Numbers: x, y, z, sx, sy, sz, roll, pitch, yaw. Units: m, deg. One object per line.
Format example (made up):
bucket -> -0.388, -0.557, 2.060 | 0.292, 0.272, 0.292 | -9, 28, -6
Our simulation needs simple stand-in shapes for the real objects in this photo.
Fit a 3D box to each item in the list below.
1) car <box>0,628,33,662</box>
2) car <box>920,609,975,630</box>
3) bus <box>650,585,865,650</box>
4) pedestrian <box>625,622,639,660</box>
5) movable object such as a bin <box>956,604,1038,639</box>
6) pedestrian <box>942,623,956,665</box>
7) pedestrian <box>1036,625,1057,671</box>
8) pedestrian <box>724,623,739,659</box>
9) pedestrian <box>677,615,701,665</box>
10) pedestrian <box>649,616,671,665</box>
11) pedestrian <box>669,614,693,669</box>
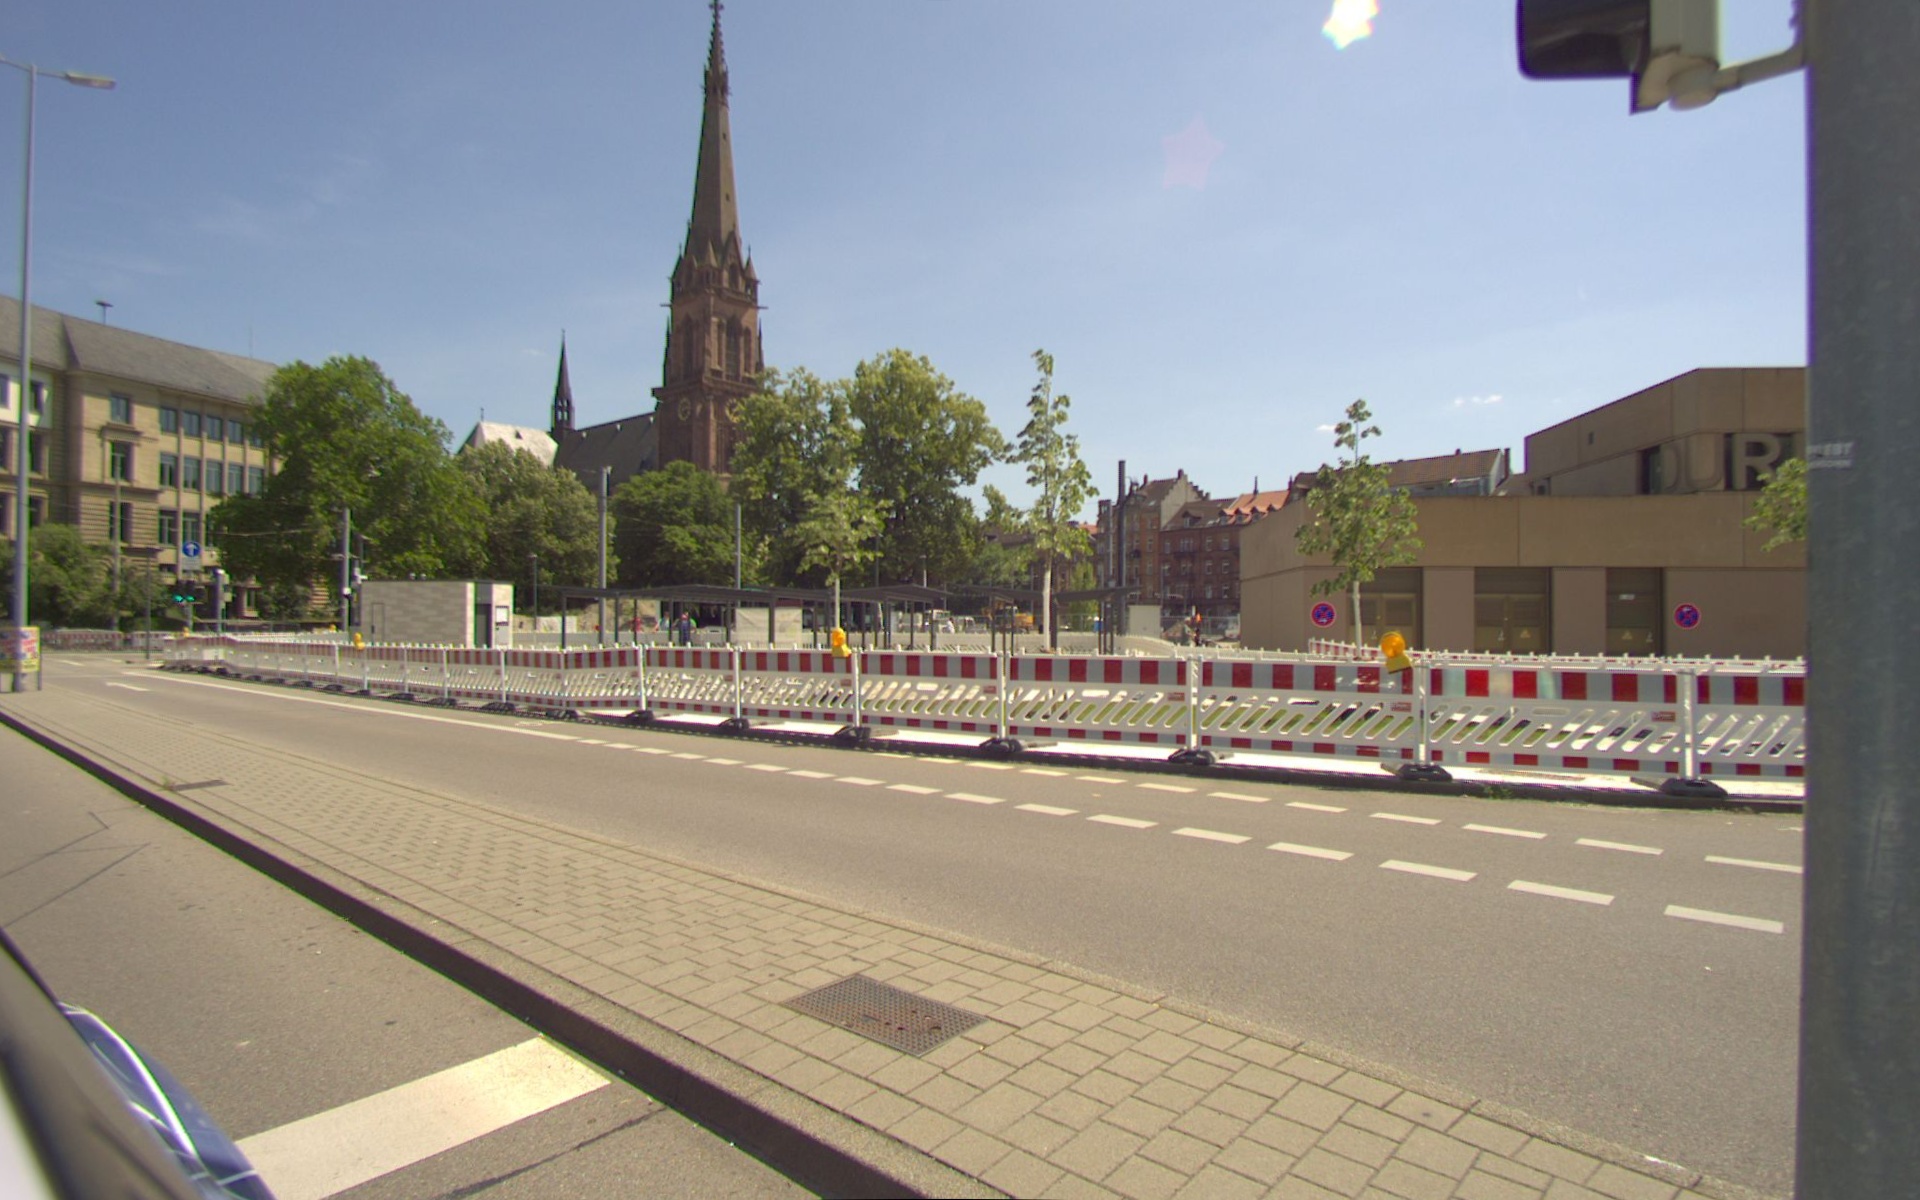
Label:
car -> -41.219, 1.895, 43.420 | 4.012, 1.388, 1.670 | -1, -4, 42
car -> -1.070, 1.635, 83.944 | 4.224, 1.614, 1.766 | -1, 0, 27
bus -> -10.364, 0.874, 52.147 | 10.479, 3.076, 2.848 | -1, 0, 8
pedestrian -> -15.264, 1.900, 47.129 | 0.556, 1.714, 0.582 | -1, 0, -13
movable object such as a bin -> 3.772, 2.256, 104.491 | 7.931, 3.414, 2.884 | -1, 0, 26
pedestrian -> -0.497, 2.046, 47.169 | 0.598, 1.871, 0.699 | -1, 0, 2
pedestrian -> 3.912, 2.158, 45.763 | 0.869, 2.029, 0.694 | -1, 0, 11
pedestrian -> -10.797, 1.929, 47.891 | 0.539, 1.667, 0.626 | -1, 0, 2
pedestrian -> -10.012, 1.469, 37.358 | 0.630, 1.802, 0.644 | -1, 0, 6
pedestrian -> -11.048, 1.496, 37.250 | 0.649, 1.769, 0.541 | -1, 0, -3
pedestrian -> -9.949, 1.468, 36.096 | 0.569, 1.920, 0.692 | -1, 0, 5
